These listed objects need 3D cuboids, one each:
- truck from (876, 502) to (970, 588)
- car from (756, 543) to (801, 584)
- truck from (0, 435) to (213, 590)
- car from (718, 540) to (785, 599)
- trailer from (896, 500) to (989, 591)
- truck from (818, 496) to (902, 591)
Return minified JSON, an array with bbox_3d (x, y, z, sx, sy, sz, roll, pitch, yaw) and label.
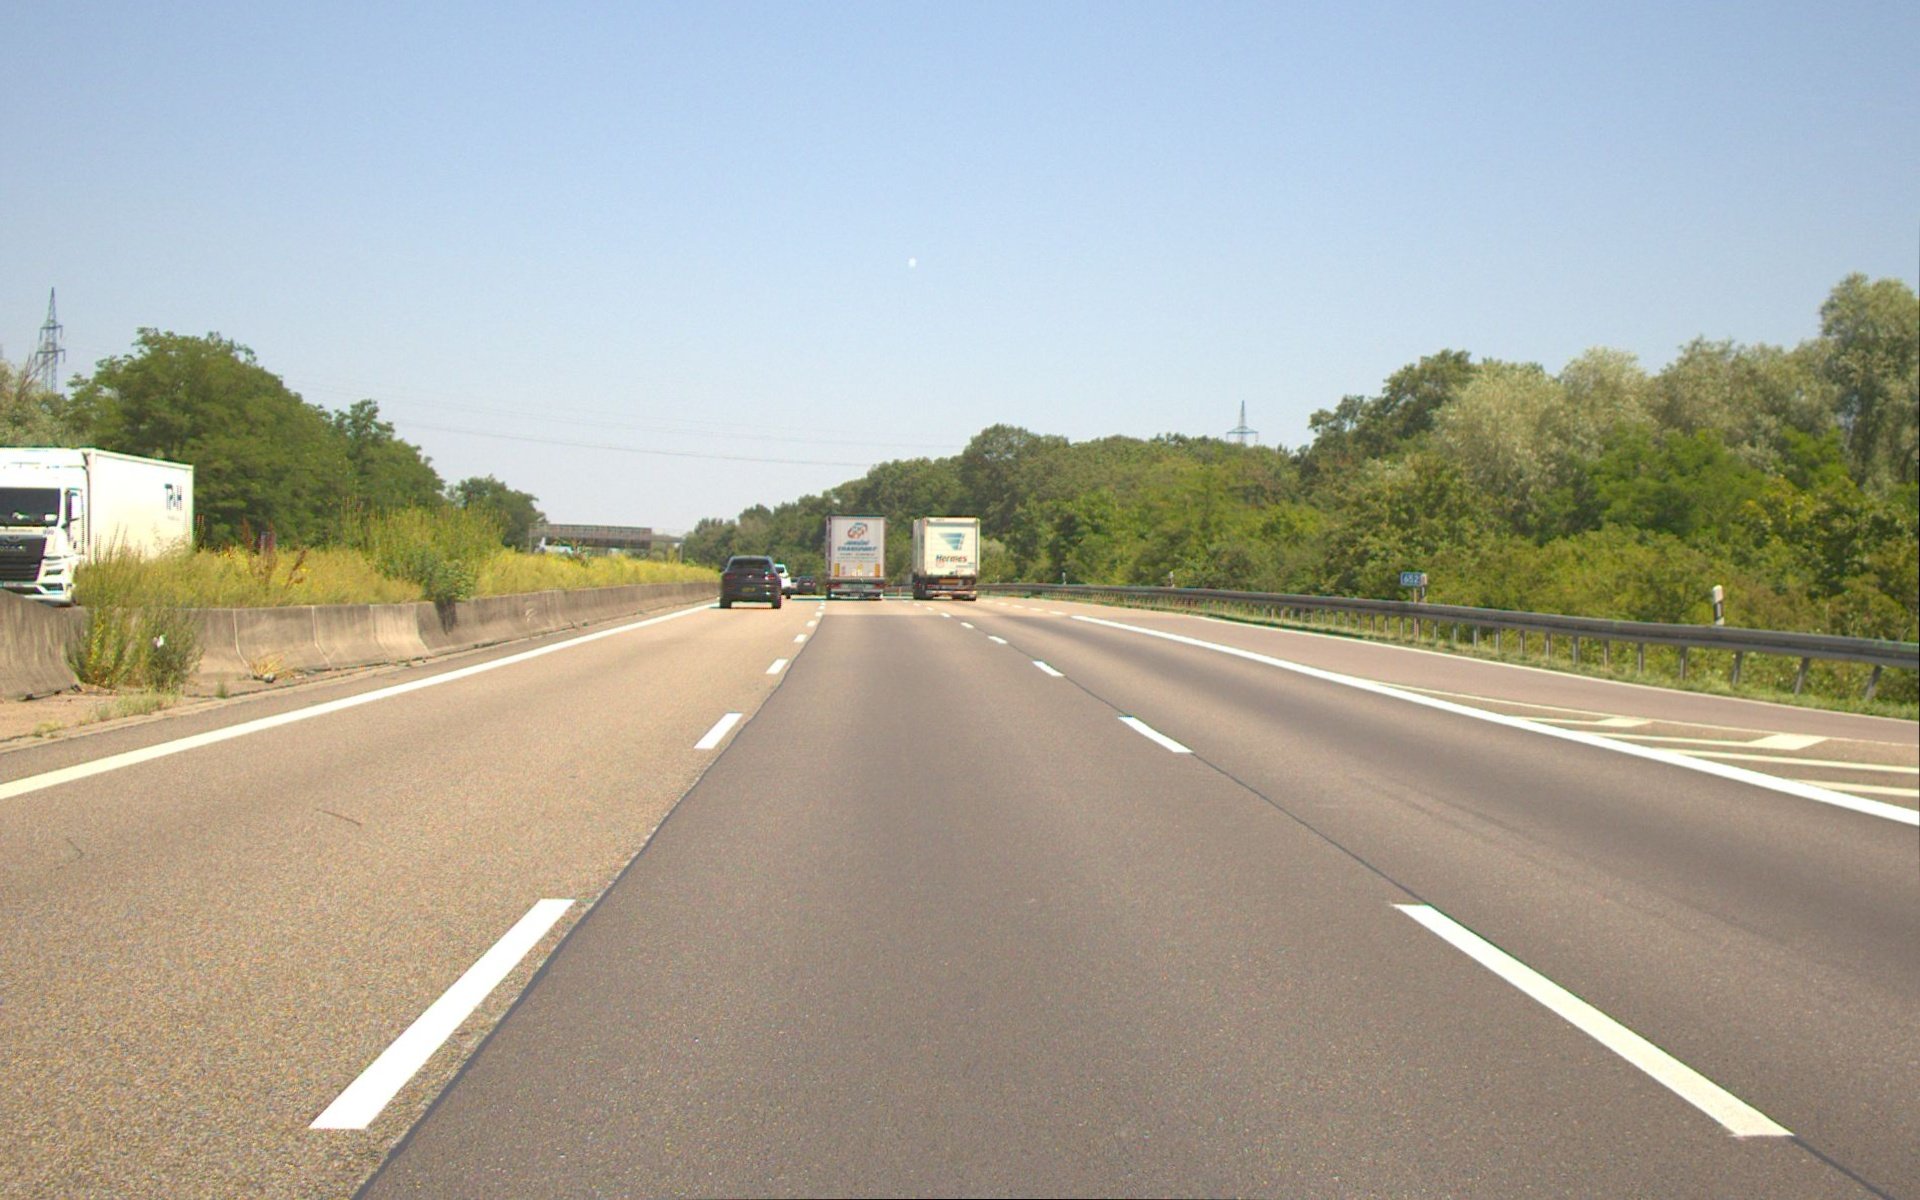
[{"bbox_3d":[-1.904,-2.737,170.546,3.325,4.039,10.956,1,1,-7],"label":"truck"},{"bbox_3d":[-8.717,-1.739,164.866,1.993,1.868,4.001,2,1,-4],"label":"car"},{"bbox_3d":[-23.417,-2.263,92.167,3.598,3.722,17.487,1,1,-2],"label":"truck"},{"bbox_3d":[-6.838,-1.027,113.240,1.993,1.868,4.000,1,1,-1],"label":"car"},{"bbox_3d":[-0.888,-2.609,162.672,3.367,4.128,9.093,1,1,-6],"label":"trailer"},{"bbox_3d":[-4.679,-2.596,158.760,3.229,4.188,8.467,1,1,-6],"label":"truck"}]
